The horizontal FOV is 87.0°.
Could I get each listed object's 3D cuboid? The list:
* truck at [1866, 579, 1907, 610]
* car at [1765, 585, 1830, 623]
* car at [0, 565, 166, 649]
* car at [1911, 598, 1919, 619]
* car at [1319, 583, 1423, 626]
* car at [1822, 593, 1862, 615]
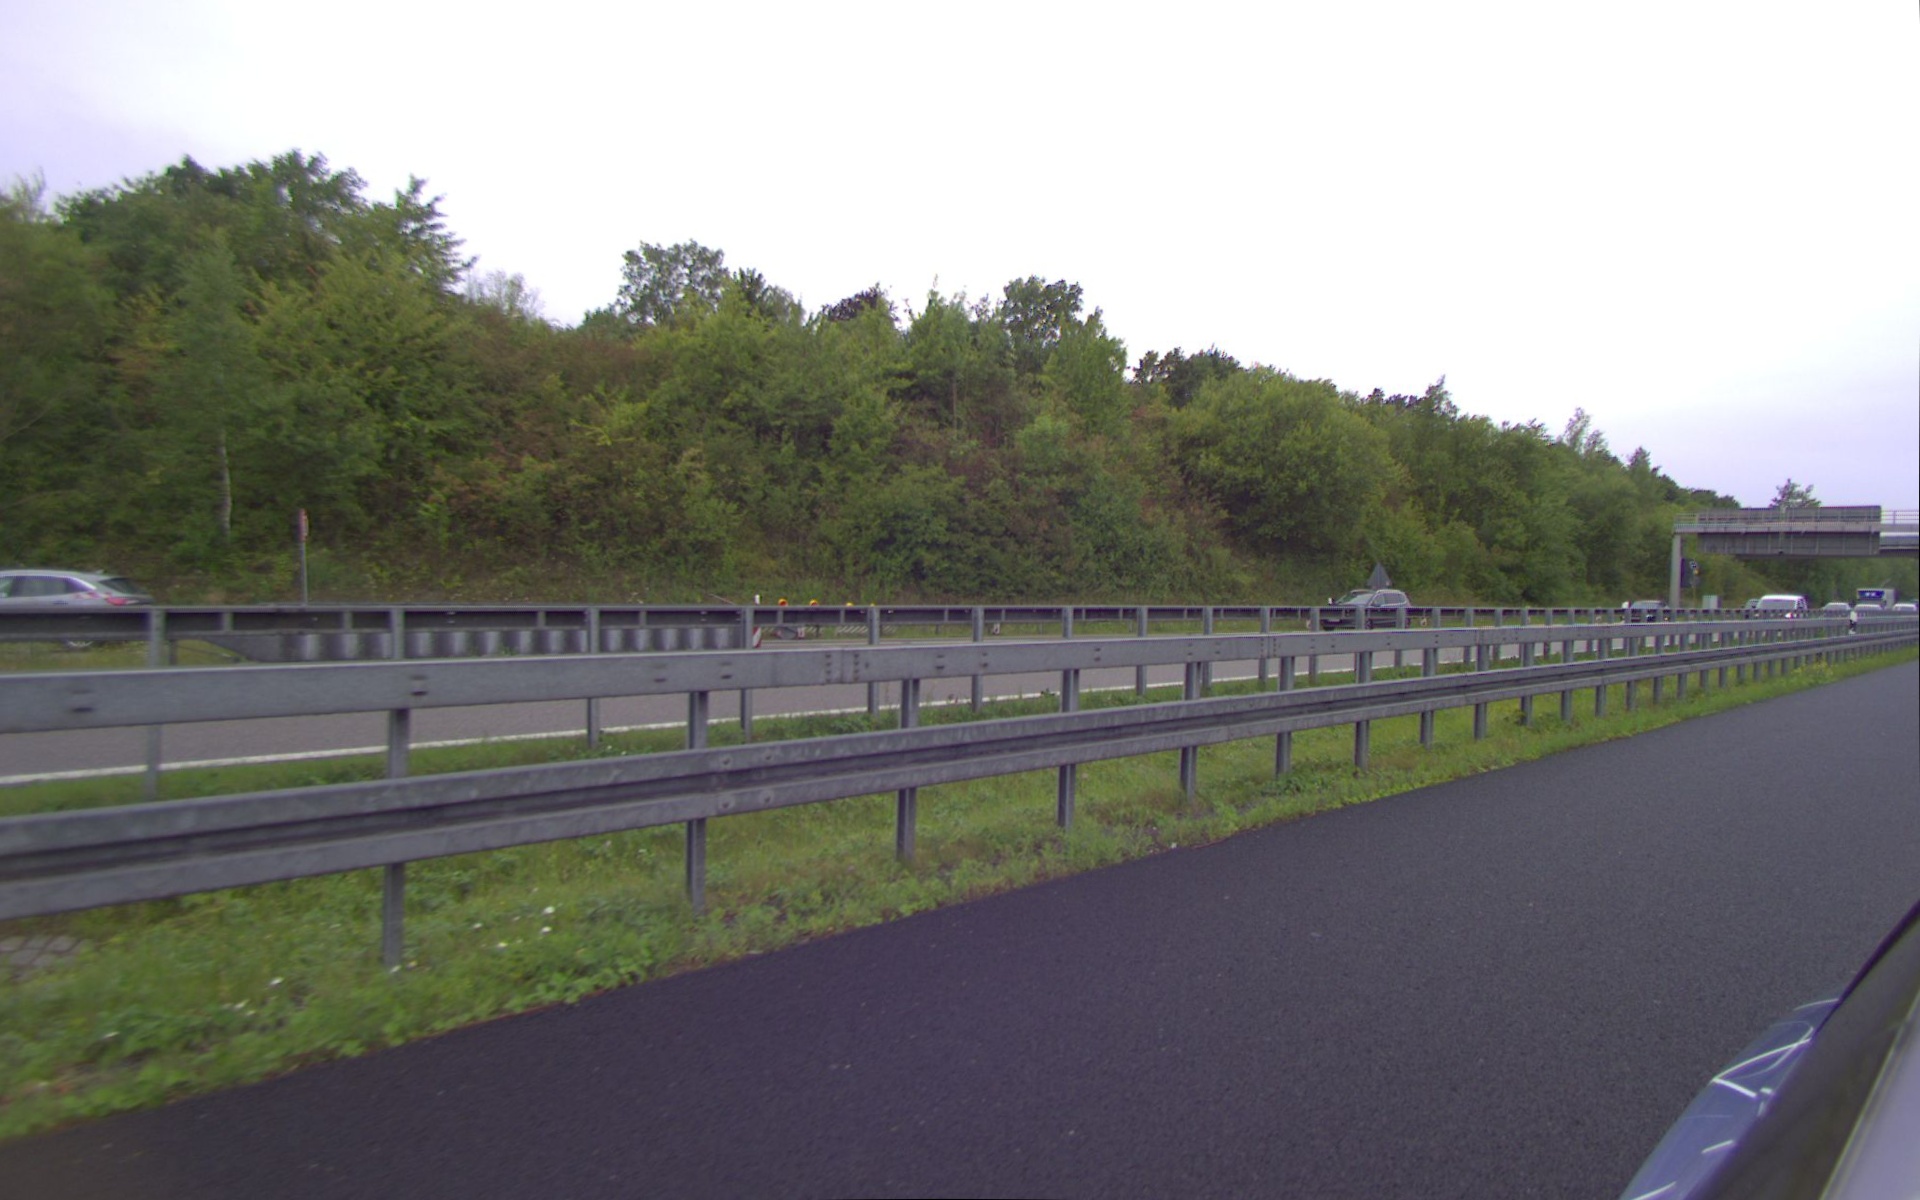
[{"bbox_3d":[107.503,-0.708,117.392,9.129,3.460,2.904,0,1,-44],"label":"truck"},{"bbox_3d":[42.688,0.172,51.556,4.567,1.828,1.863,0,1,-41],"label":"car"},{"bbox_3d":[-19.117,0.119,20.536,4.406,1.634,1.869,0,1,-25],"label":"car"},{"bbox_3d":[89.637,0.798,93.579,4.201,1.837,2.012,0,1,-41],"label":"car"},{"bbox_3d":[16.198,0.163,39.847,4.160,1.602,1.866,0,1,-36],"label":"car"},{"bbox_3d":[76.408,0.340,87.638,4.201,1.837,2.012,0,1,-41],"label":"car"}]
